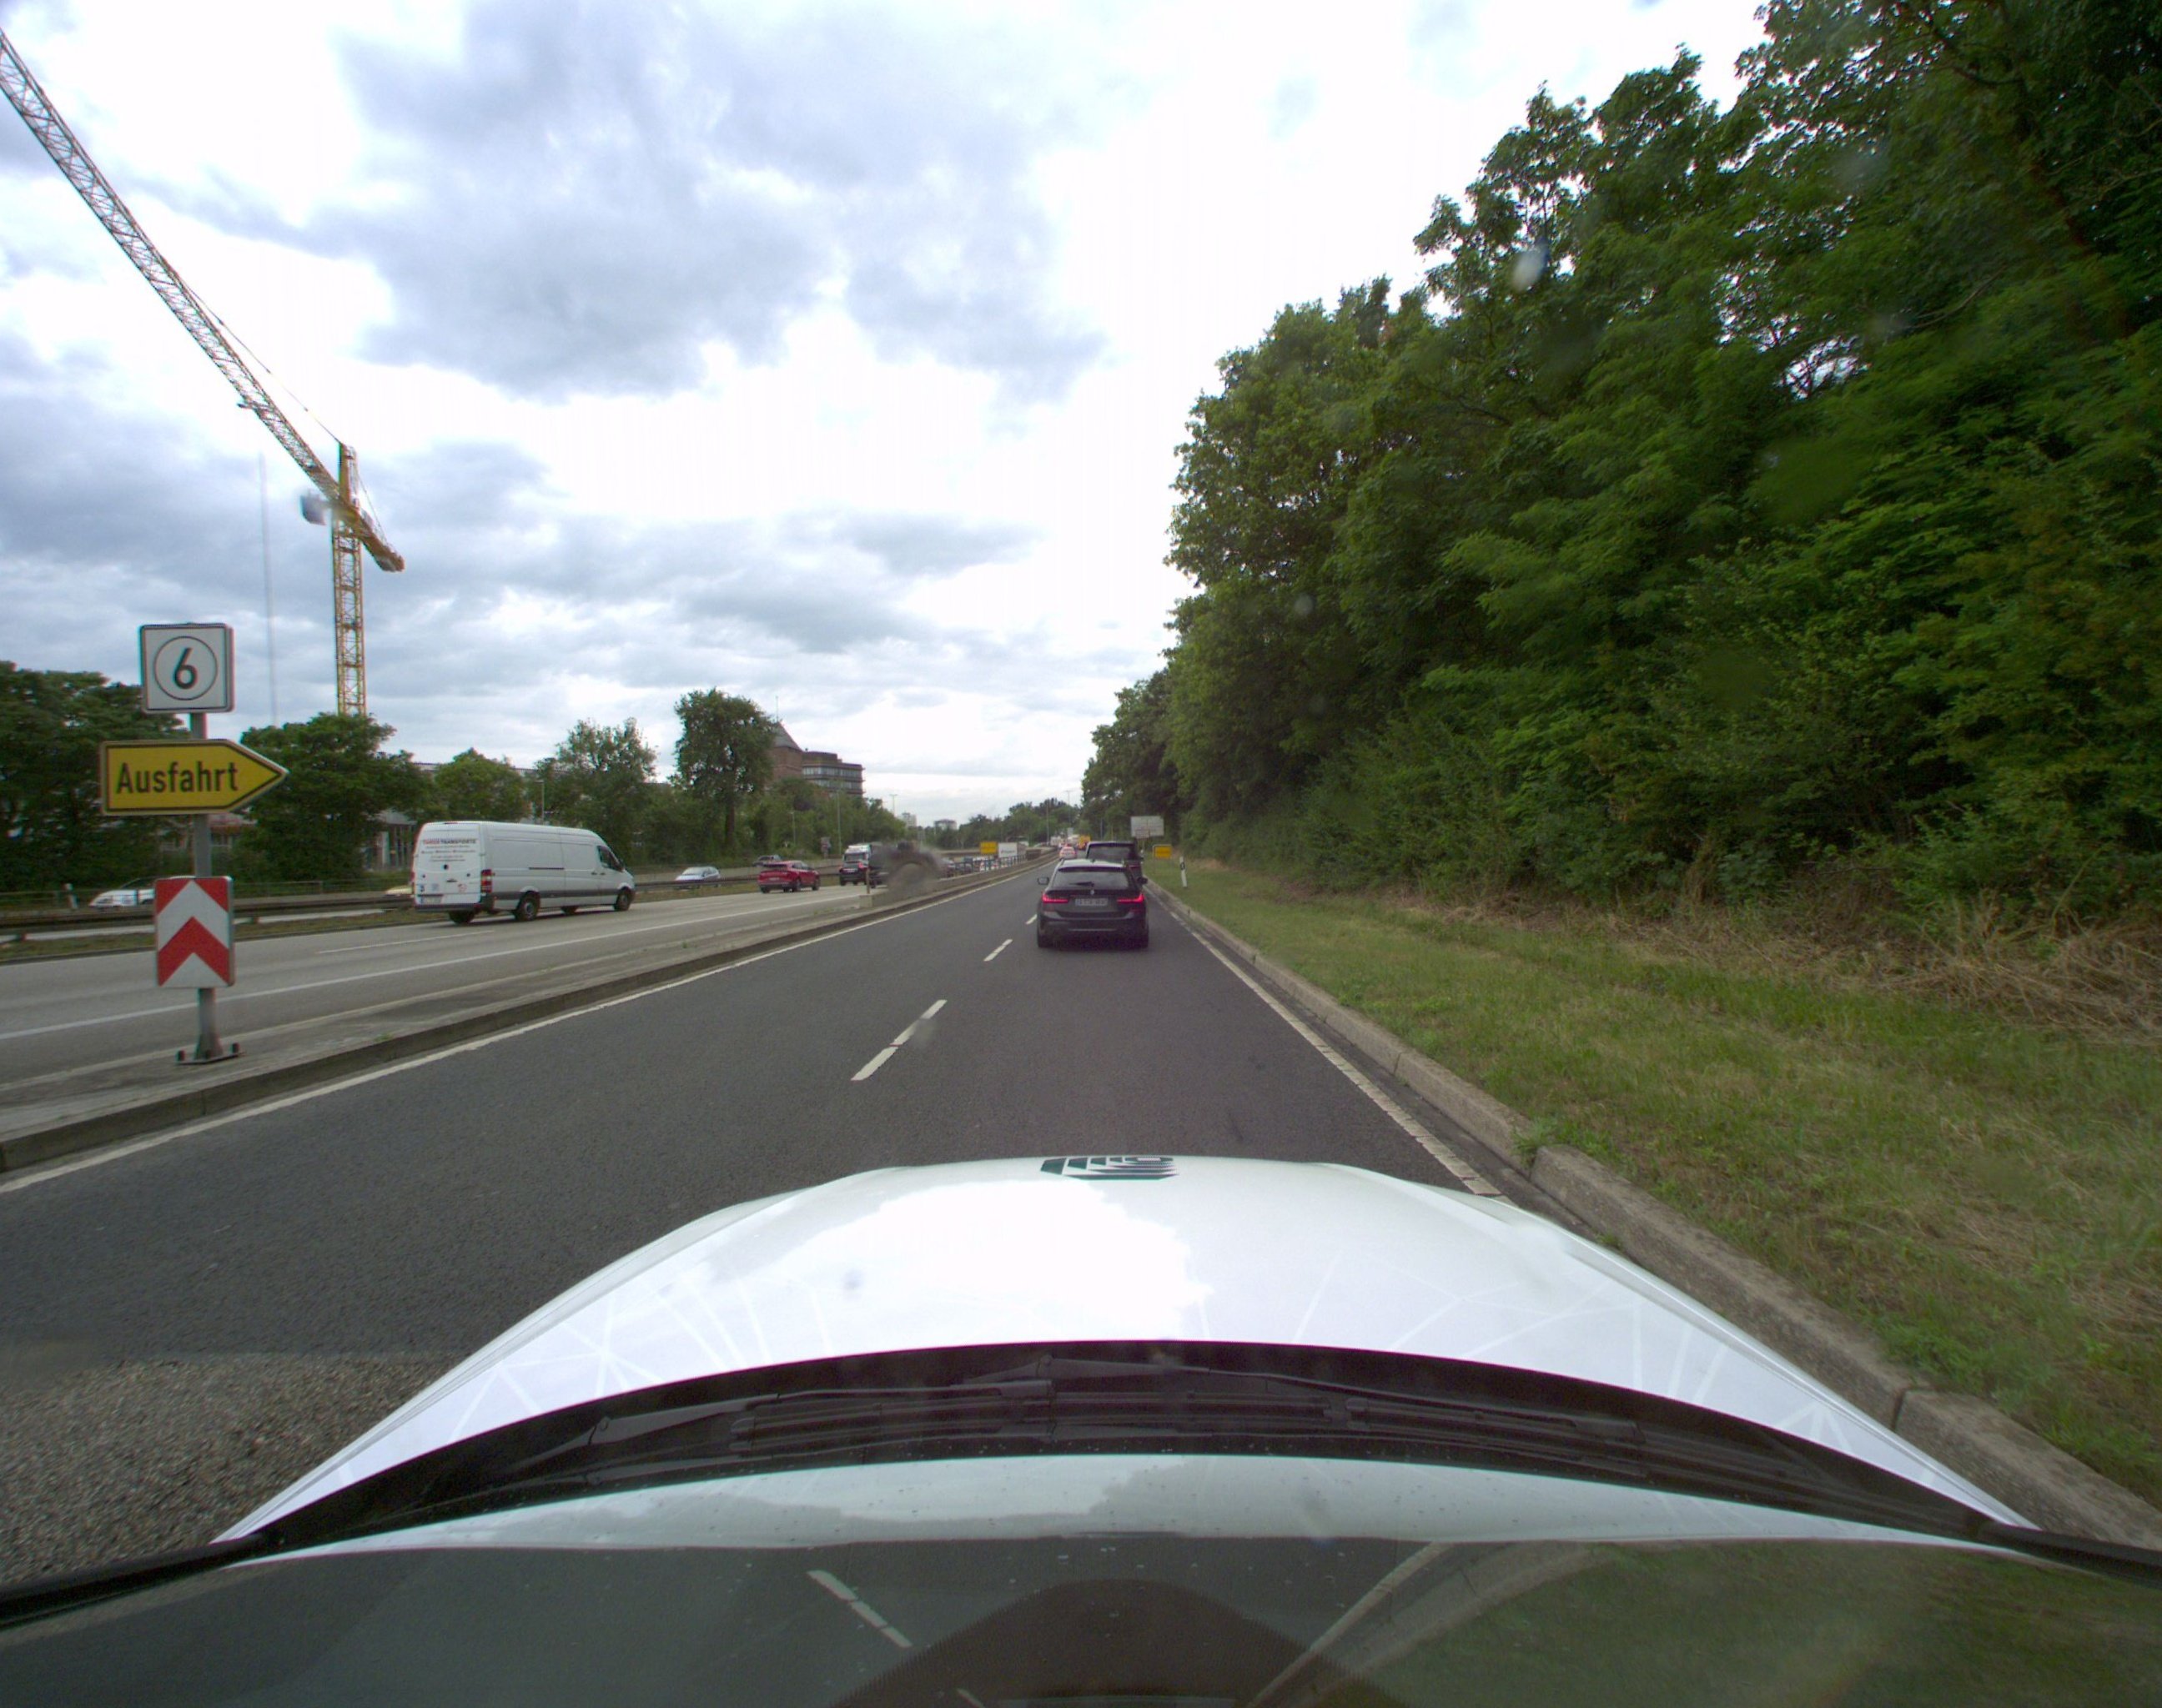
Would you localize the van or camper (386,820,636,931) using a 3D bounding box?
[{"bbox_3d":[-15.650,0.507,23.129,2.042,2.621,6.957,-2,0,1],"label":"van or camper"}]

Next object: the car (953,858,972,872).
[{"bbox_3d":[-14.709,1.329,101.296,1.682,1.632,3.734,0,0,0],"label":"car"}]

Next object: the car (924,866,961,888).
[{"bbox_3d":[-10.202,1.656,60.361,1.706,1.456,4.669,-1,0,2],"label":"car"}]

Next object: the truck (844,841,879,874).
[{"bbox_3d":[-25.666,0.385,95.384,2.583,3.768,4.779,-2,0,1],"label":"truck"}]

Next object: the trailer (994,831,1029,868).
[{"bbox_3d":[-9.288,-0.562,110.751,3.121,4.725,14.562,0,0,1],"label":"trailer"}]

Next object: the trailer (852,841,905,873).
[{"bbox_3d":[-25.429,0.336,103.286,2.581,3.757,14.732,-2,0,2],"label":"trailer"}]

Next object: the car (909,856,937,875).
[{"bbox_3d":[-14.061,0.994,72.625,1.682,1.608,4.008,0,0,0],"label":"car"}]

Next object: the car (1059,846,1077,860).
[{"bbox_3d":[-1.408,-0.154,88.582,1.852,1.464,4.885,-1,0,1],"label":"car"}]

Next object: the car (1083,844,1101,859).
[{"bbox_3d":[1.128,-0.218,84.276,1.852,1.464,4.534,-1,0,1],"label":"car"}]

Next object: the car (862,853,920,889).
[{"bbox_3d":[-10.352,0.869,44.798,1.987,1.851,4.811,-1,0,0],"label":"car"}]

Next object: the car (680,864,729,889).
[{"bbox_3d":[-25.628,1.507,55.540,1.591,1.490,3.626,-2,0,1],"label":"car"}]

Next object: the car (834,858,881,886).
[{"bbox_3d":[-14.786,1.180,54.089,1.884,1.681,4.306,-2,0,0],"label":"car"}]

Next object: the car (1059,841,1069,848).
[{"bbox_3d":[-3.832,-2.181,186.334,1.929,1.596,3.868,-2,0,-7],"label":"car"}]

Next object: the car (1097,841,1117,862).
[{"bbox_3d":[2.026,-0.220,63.607,1.447,1.540,3.226,-2,0,2],"label":"car"}]

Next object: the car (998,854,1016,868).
[{"bbox_3d":[-8.837,0.838,96.962,1.763,1.549,3.492,-2,0,0],"label":"car"}]

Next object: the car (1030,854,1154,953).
[{"bbox_3d":[0.160,0.740,14.196,1.840,1.466,3.999,-1,0,0],"label":"car"}]

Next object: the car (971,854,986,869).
[{"bbox_3d":[-14.540,1.004,115.413,1.438,2.044,3.682,-2,0,2],"label":"car"}]

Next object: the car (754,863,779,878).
[{"bbox_3d":[-34.334,1.788,88.916,1.341,1.524,3.371,-2,0,2],"label":"car"}]

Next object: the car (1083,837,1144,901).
[{"bbox_3d":[1.039,0.451,26.494,1.789,1.872,4.002,-1,0,2],"label":"car"}]

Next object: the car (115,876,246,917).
[{"bbox_3d":[-35.519,1.632,32.238,1.329,1.407,3.420,-2,0,0],"label":"car"}]

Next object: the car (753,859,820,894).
[{"bbox_3d":[-14.997,1.096,41.728,1.745,1.635,4.268,-1,0,2],"label":"car"}]

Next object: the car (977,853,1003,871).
[{"bbox_3d":[-9.225,0.790,83.140,1.938,1.692,4.509,-2,0,2],"label":"car"}]

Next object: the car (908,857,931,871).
[{"bbox_3d":[-20.456,1.239,103.254,1.986,1.765,4.002,-2,0,2],"label":"car"}]
